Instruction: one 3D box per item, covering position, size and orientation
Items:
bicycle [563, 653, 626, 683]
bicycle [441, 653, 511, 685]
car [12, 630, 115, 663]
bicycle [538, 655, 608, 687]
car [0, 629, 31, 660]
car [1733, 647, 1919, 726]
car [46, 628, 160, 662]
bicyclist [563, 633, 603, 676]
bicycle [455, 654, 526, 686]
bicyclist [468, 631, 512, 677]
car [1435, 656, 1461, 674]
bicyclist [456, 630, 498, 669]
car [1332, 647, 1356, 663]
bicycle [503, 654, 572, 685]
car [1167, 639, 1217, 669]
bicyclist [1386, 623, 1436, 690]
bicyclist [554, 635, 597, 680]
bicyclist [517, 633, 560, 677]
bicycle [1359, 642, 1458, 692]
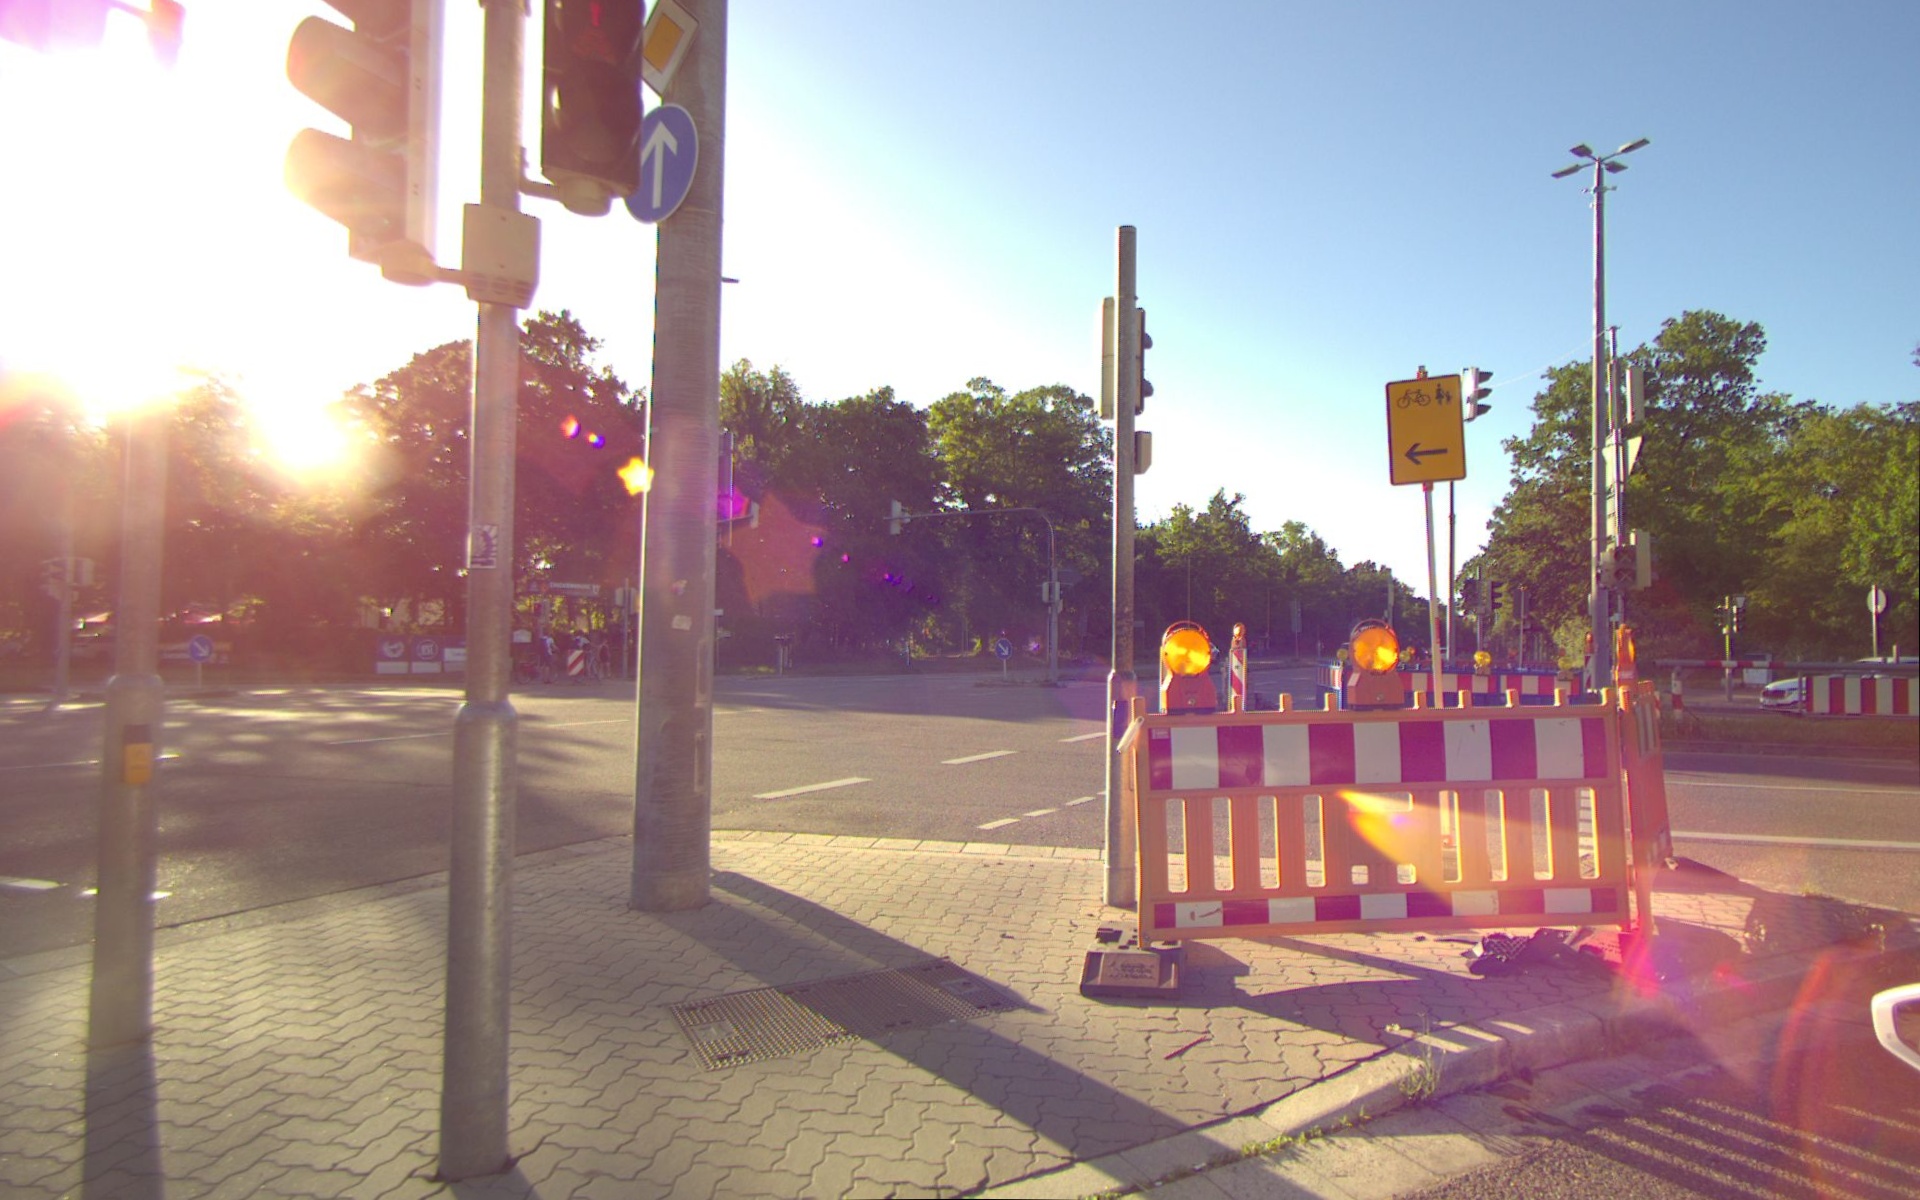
[{"bbox_3d":[-12.122,2.250,33.374,0.705,0.926,1.905,-1,-3,35],"label":"bicycle"},{"bbox_3d":[-15.469,2.189,32.148,0.705,0.926,1.905,-1,-2,35],"label":"bicycle"},{"bbox_3d":[-45.725,2.357,51.323,1.777,1.620,3.505,1,-2,9],"label":"car"},{"bbox_3d":[-11.757,2.143,30.569,0.705,0.926,1.905,-1,-3,35],"label":"bicycle"},{"bbox_3d":[-50.715,2.283,51.520,1.778,1.620,4.152,0,-2,19],"label":"car"},{"bbox_3d":[20.274,1.892,22.115,4.735,1.601,2.002,1,-2,11],"label":"car"},{"bbox_3d":[-43.049,2.241,50.584,1.777,1.620,4.200,1,-2,9],"label":"car"},{"bbox_3d":[-12.378,1.785,33.013,0.705,1.360,0.987,-1,-2,35],"label":"bicyclist"},{"bbox_3d":[-14.756,2.185,31.597,0.705,0.926,1.905,-1,-3,35],"label":"bicycle"},{"bbox_3d":[-14.772,1.696,31.586,0.701,1.408,0.987,-1,-2,35],"label":"bicyclist"},{"bbox_3d":[42.006,5.564,86.377,1.911,1.433,3.995,0,-3,28],"label":"car"},{"bbox_3d":[-15.462,1.589,32.168,0.705,1.208,0.987,-1,-2,35],"label":"bicyclist"},{"bbox_3d":[43.232,6.205,113.042,1.964,1.676,4.241,0,-3,30],"label":"car"},{"bbox_3d":[-13.277,2.169,31.638,0.705,0.926,1.905,-1,-3,35],"label":"bicycle"},{"bbox_3d":[14.895,3.426,64.239,1.964,1.812,4.241,0,-3,30],"label":"car"},{"bbox_3d":[13.624,1.704,30.370,0.997,1.955,0.968,2,-1,-5],"label":"bicyclist"},{"bbox_3d":[-11.716,1.747,30.628,0.705,1.356,0.987,-1,-2,35],"label":"bicyclist"},{"bbox_3d":[-13.272,1.729,31.647,0.705,1.373,0.987,-1,-2,35],"label":"bicyclist"},{"bbox_3d":[13.534,2.023,30.357,2.590,1.401,0.968,2,-1,-5],"label":"bicycle"}]
